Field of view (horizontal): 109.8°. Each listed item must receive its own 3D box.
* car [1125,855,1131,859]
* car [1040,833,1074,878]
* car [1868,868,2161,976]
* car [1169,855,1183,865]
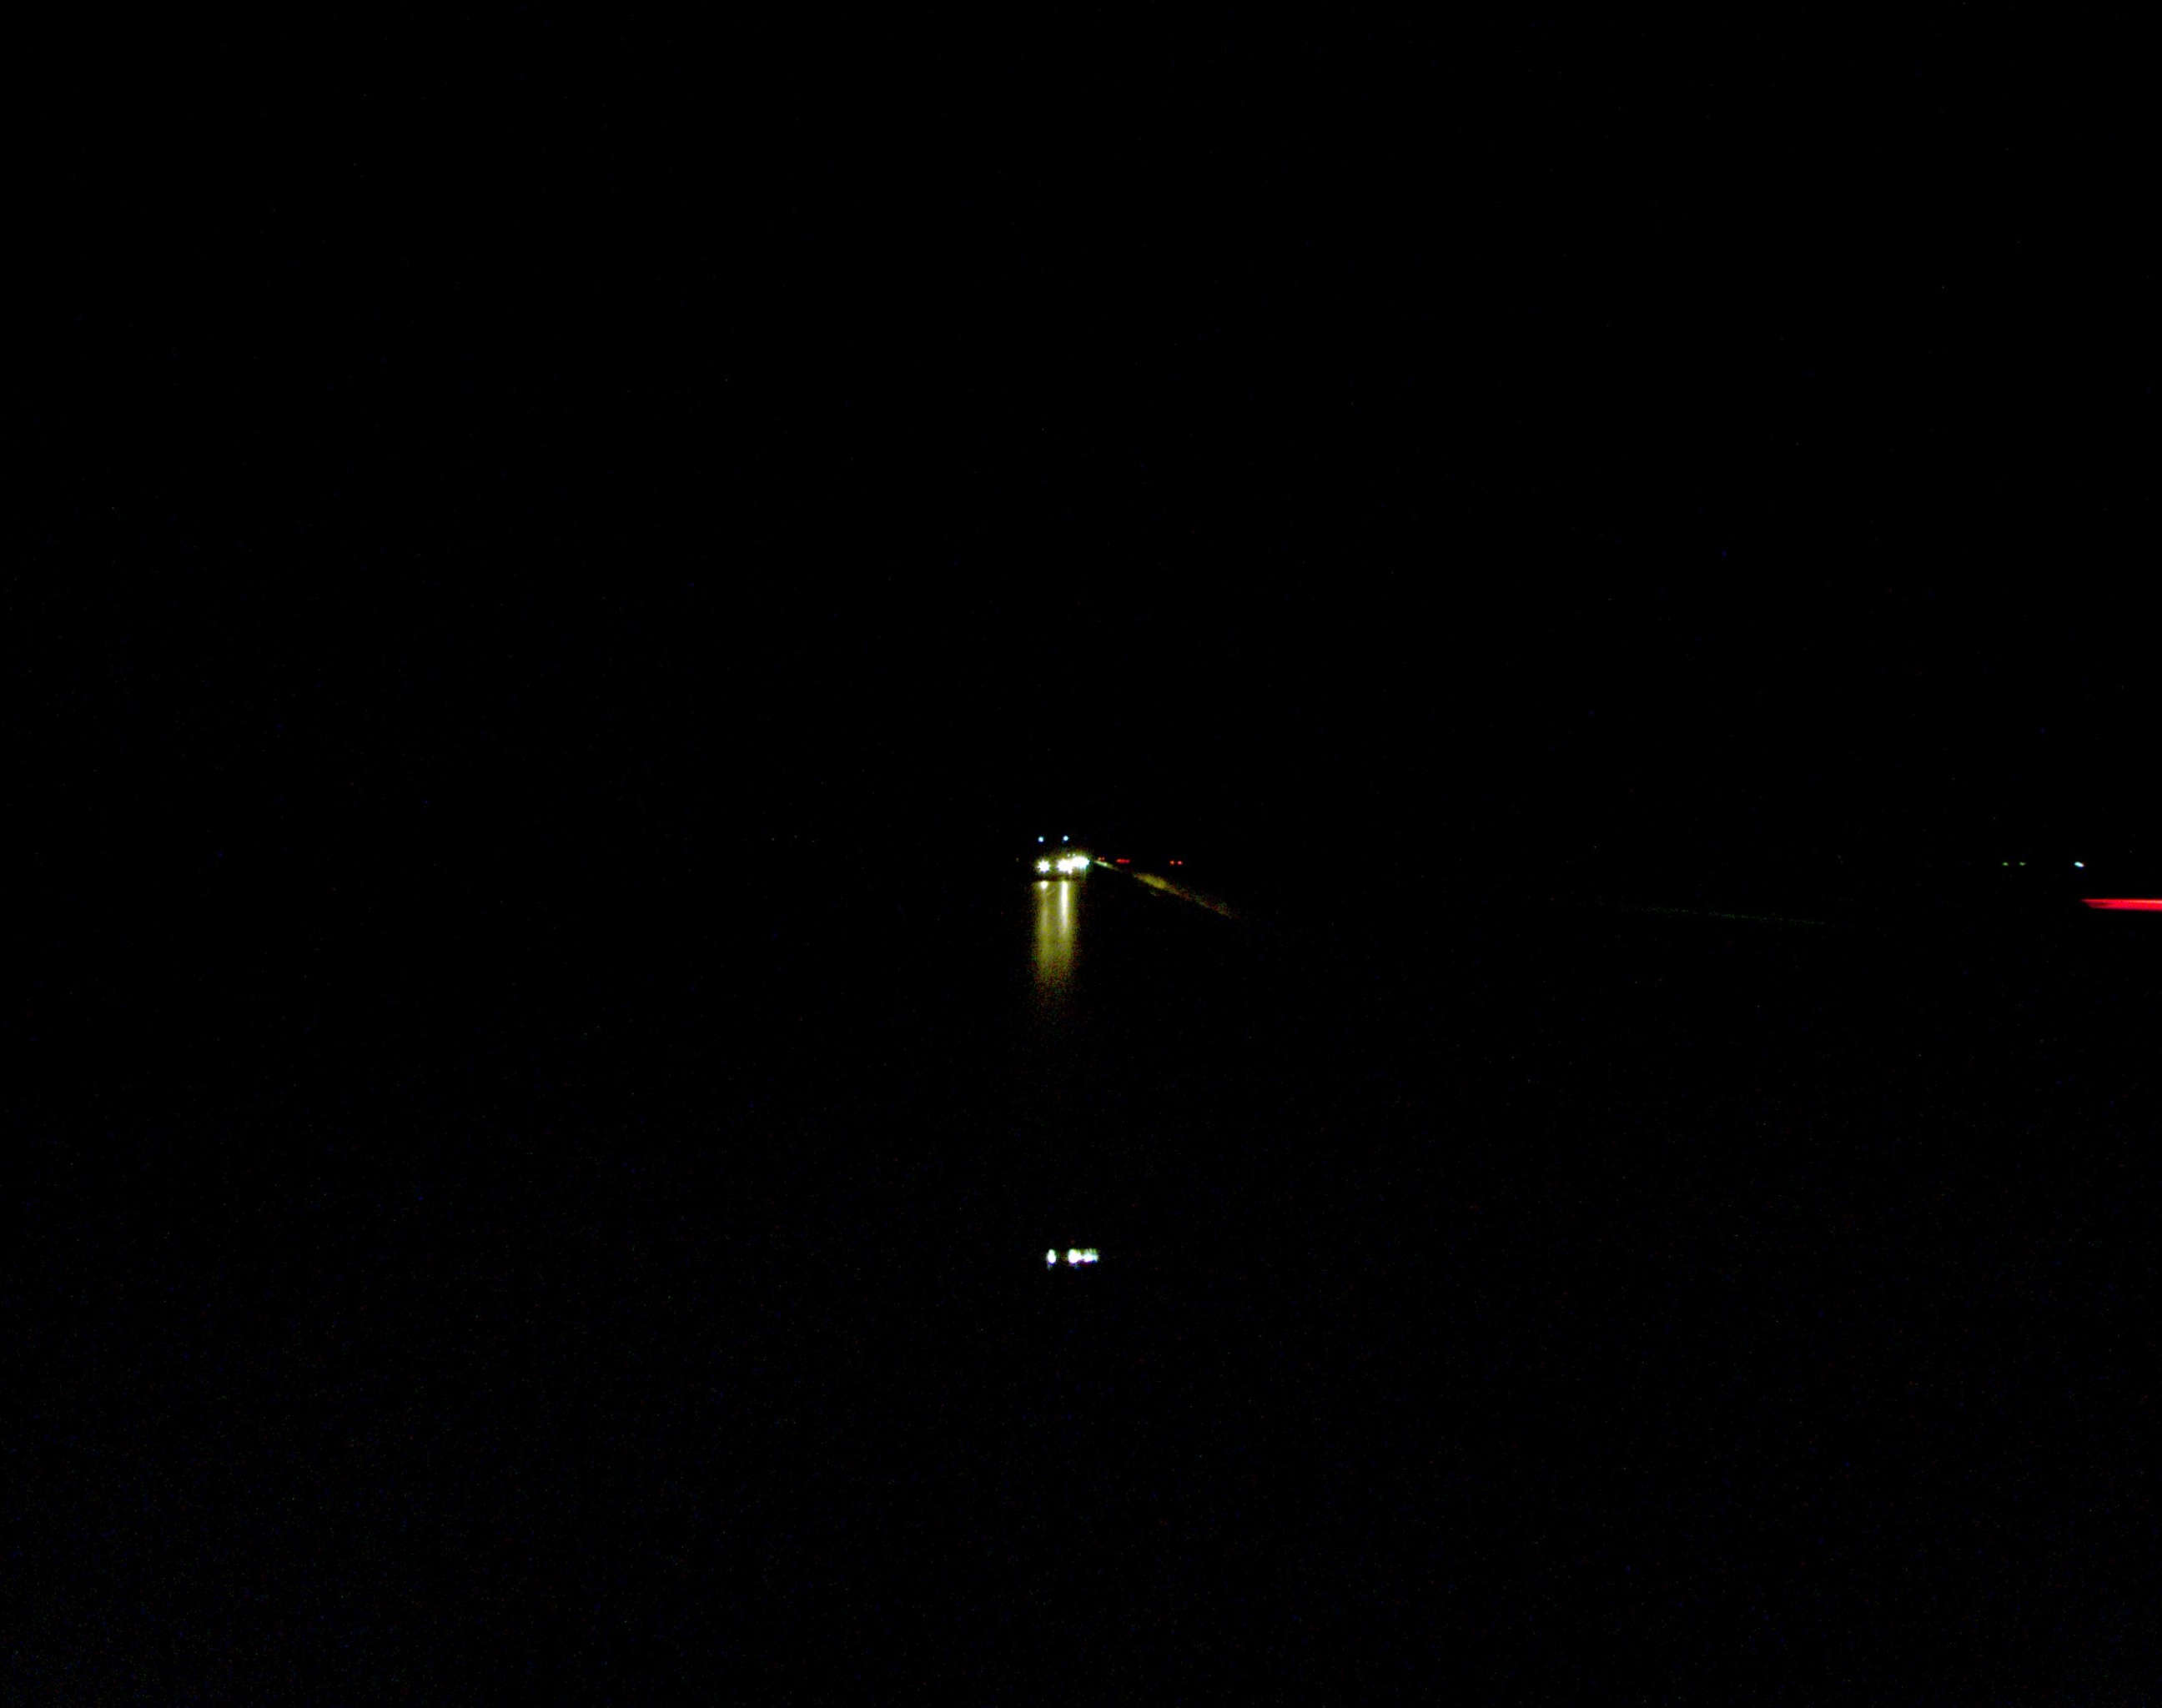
[{"bbox_3d":[16.104,1.018,260.109,1.908,1.633,5.298,0,0,1],"label":"car"},{"bbox_3d":[-1.782,0.069,58.656,2.255,3.205,6.878,-2,0,1],"label":"car"},{"bbox_3d":[15.882,0.991,11.837,1.999,1.411,4.982,1,0,-1],"label":"car"},{"bbox_3d":[18.195,1.109,145.439,2.050,1.710,4.775,1,0,1],"label":"car"}]
